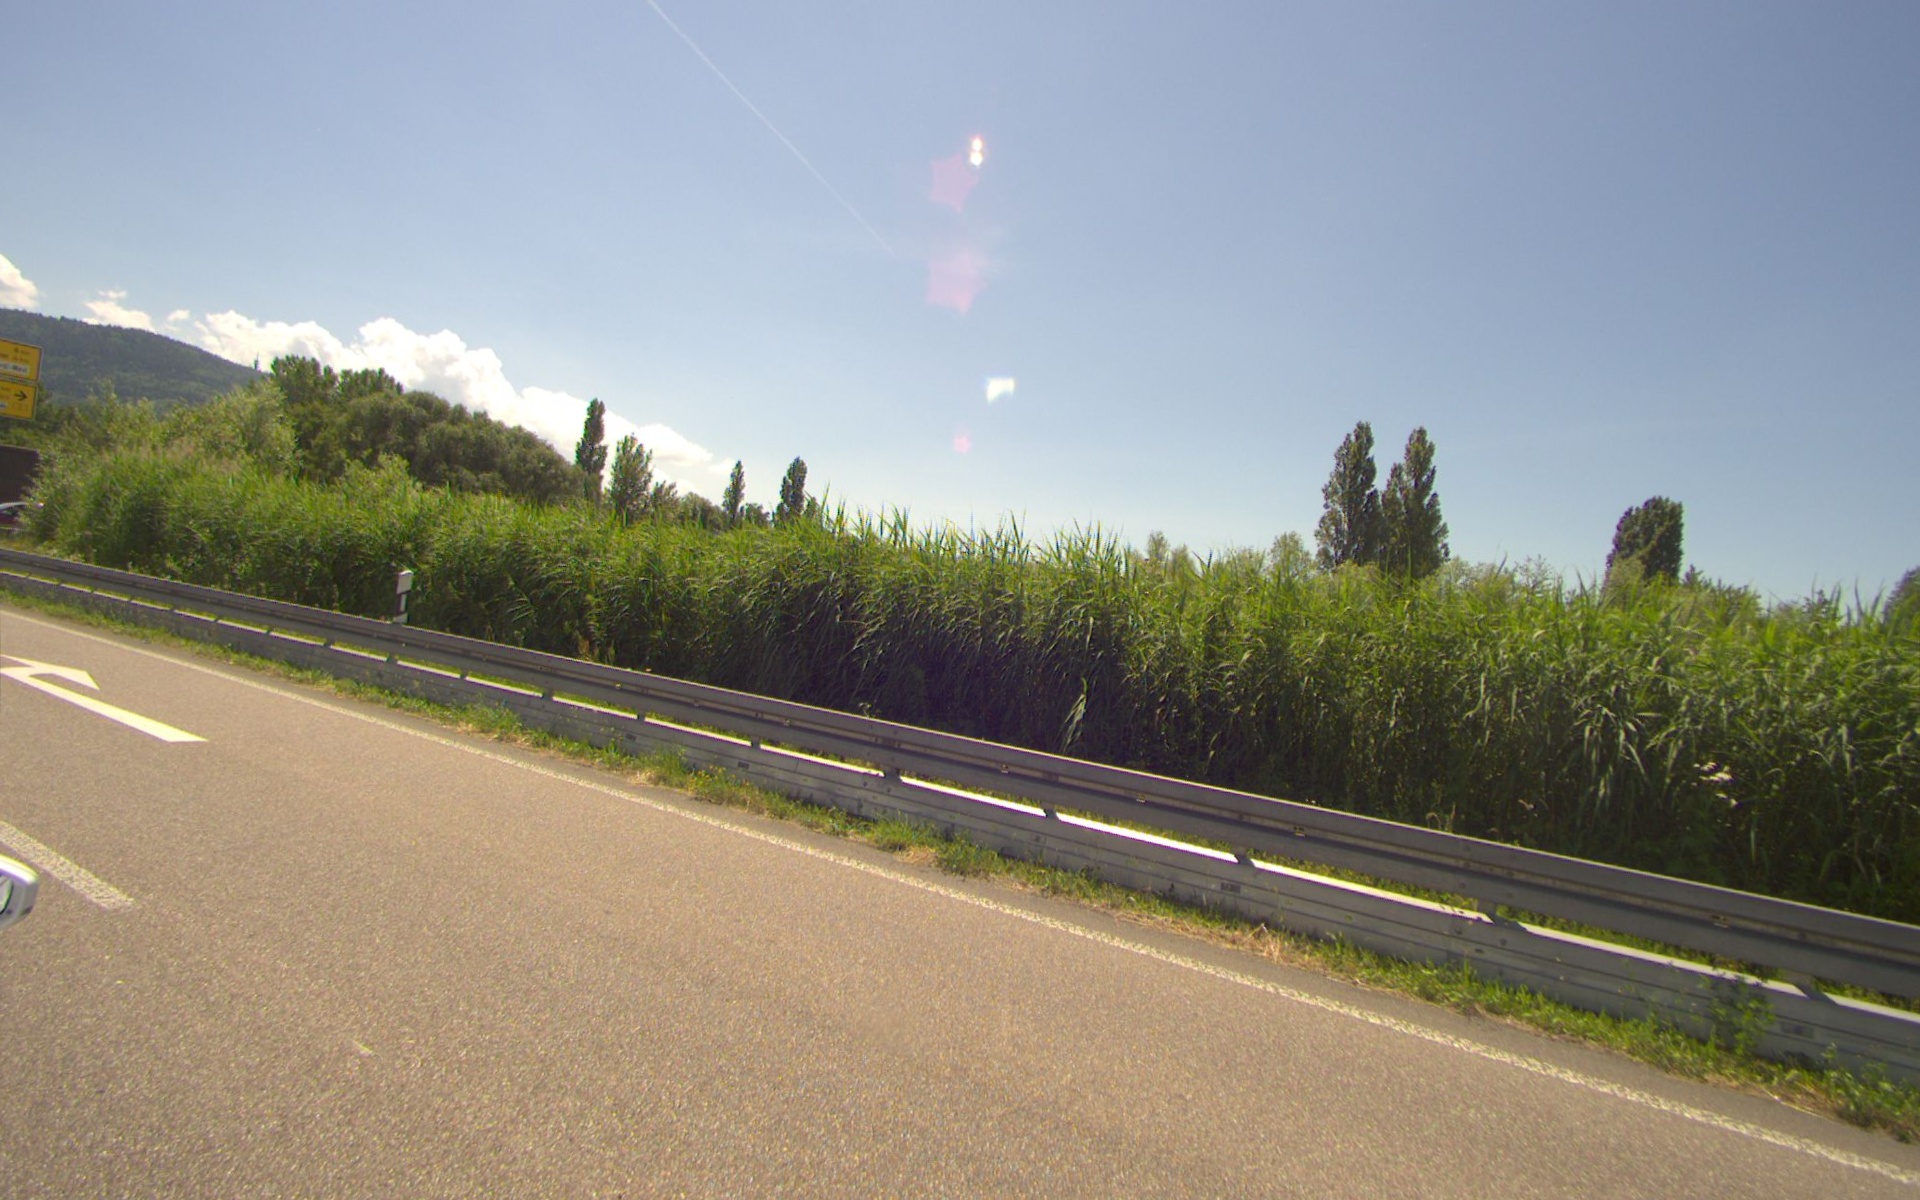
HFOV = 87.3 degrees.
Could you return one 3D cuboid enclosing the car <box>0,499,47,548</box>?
[{"bbox_3d":[-37.722,-3.158,37.981,1.966,1.676,4.320,7,-2,29],"label":"car"}]
